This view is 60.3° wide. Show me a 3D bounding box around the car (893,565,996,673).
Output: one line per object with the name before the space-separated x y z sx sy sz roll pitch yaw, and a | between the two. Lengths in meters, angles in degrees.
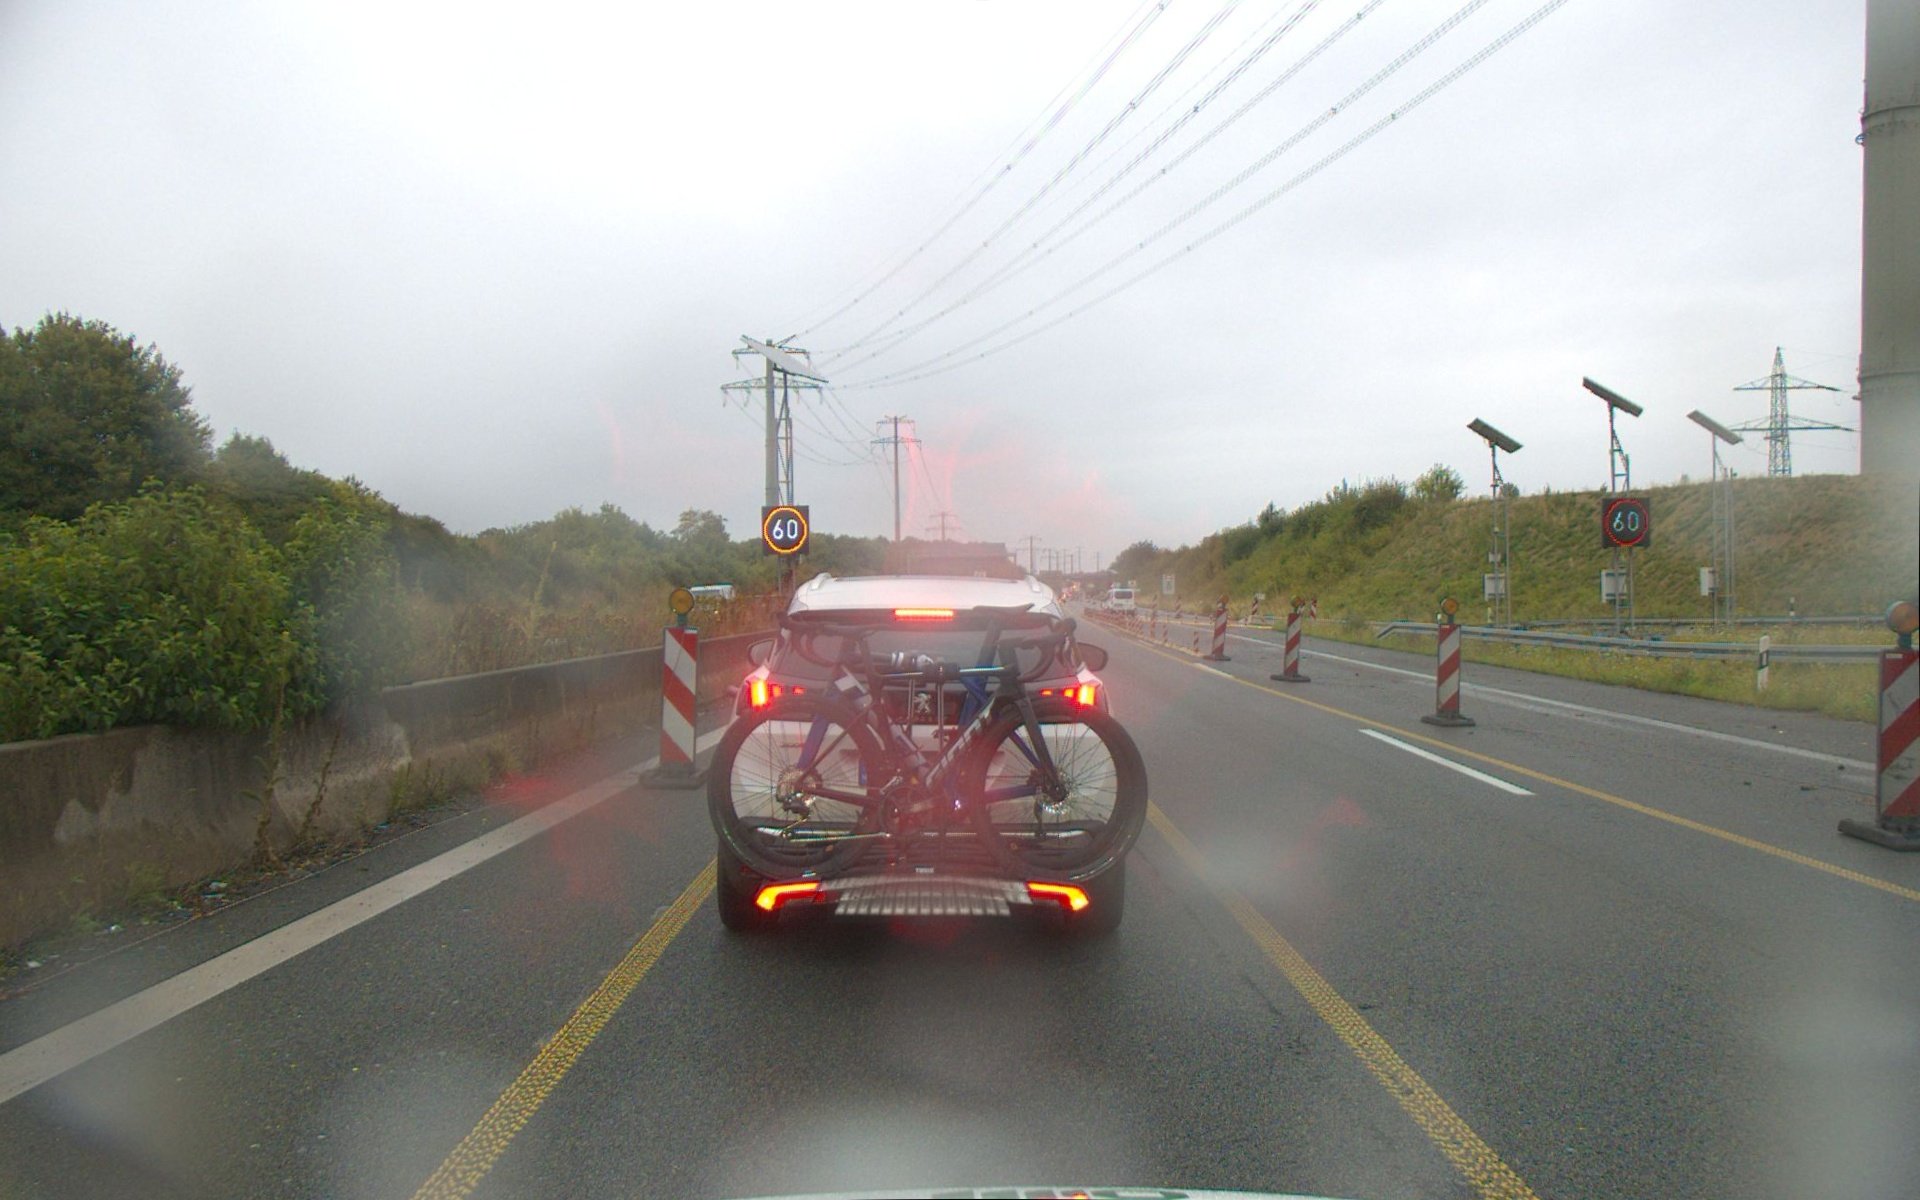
car | -0.321 0.350 34.104 1.953 2.049 3.999 -1 0 -1

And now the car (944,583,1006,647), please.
car | 0.460 0.489 55.645 1.953 2.049 3.999 1 0 -1

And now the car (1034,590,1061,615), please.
car | 7.349 0.241 139.357 1.953 2.049 3.999 1 0 -1

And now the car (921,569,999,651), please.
car | -0.023 0.246 44.131 1.953 2.049 3.999 -1 0 -1

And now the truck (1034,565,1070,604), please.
truck | 10.462 -1.840 190.081 3.654 3.887 11.875 1 3 1

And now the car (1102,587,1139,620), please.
car | 10.682 0.215 110.147 1.953 2.049 3.999 -1 0 -1

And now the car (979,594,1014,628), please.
car | 2.227 0.679 101.331 1.953 2.049 3.999 1 0 -1

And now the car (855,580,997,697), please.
car | -0.502 0.525 24.911 1.953 1.611 3.999 0 0 -1

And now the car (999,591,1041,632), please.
car | 3.151 0.612 87.637 1.953 2.049 3.998 -1 -1 -2

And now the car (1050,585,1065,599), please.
car | 14.517 -1.187 245.931 1.953 2.049 3.999 1 0 -1

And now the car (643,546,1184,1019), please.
car | -0.107 0.628 8.105 1.888 1.639 4.596 0 0 1

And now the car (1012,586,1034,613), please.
car | 5.008 -0.048 130.956 1.619 2.049 4.002 0 0 3
